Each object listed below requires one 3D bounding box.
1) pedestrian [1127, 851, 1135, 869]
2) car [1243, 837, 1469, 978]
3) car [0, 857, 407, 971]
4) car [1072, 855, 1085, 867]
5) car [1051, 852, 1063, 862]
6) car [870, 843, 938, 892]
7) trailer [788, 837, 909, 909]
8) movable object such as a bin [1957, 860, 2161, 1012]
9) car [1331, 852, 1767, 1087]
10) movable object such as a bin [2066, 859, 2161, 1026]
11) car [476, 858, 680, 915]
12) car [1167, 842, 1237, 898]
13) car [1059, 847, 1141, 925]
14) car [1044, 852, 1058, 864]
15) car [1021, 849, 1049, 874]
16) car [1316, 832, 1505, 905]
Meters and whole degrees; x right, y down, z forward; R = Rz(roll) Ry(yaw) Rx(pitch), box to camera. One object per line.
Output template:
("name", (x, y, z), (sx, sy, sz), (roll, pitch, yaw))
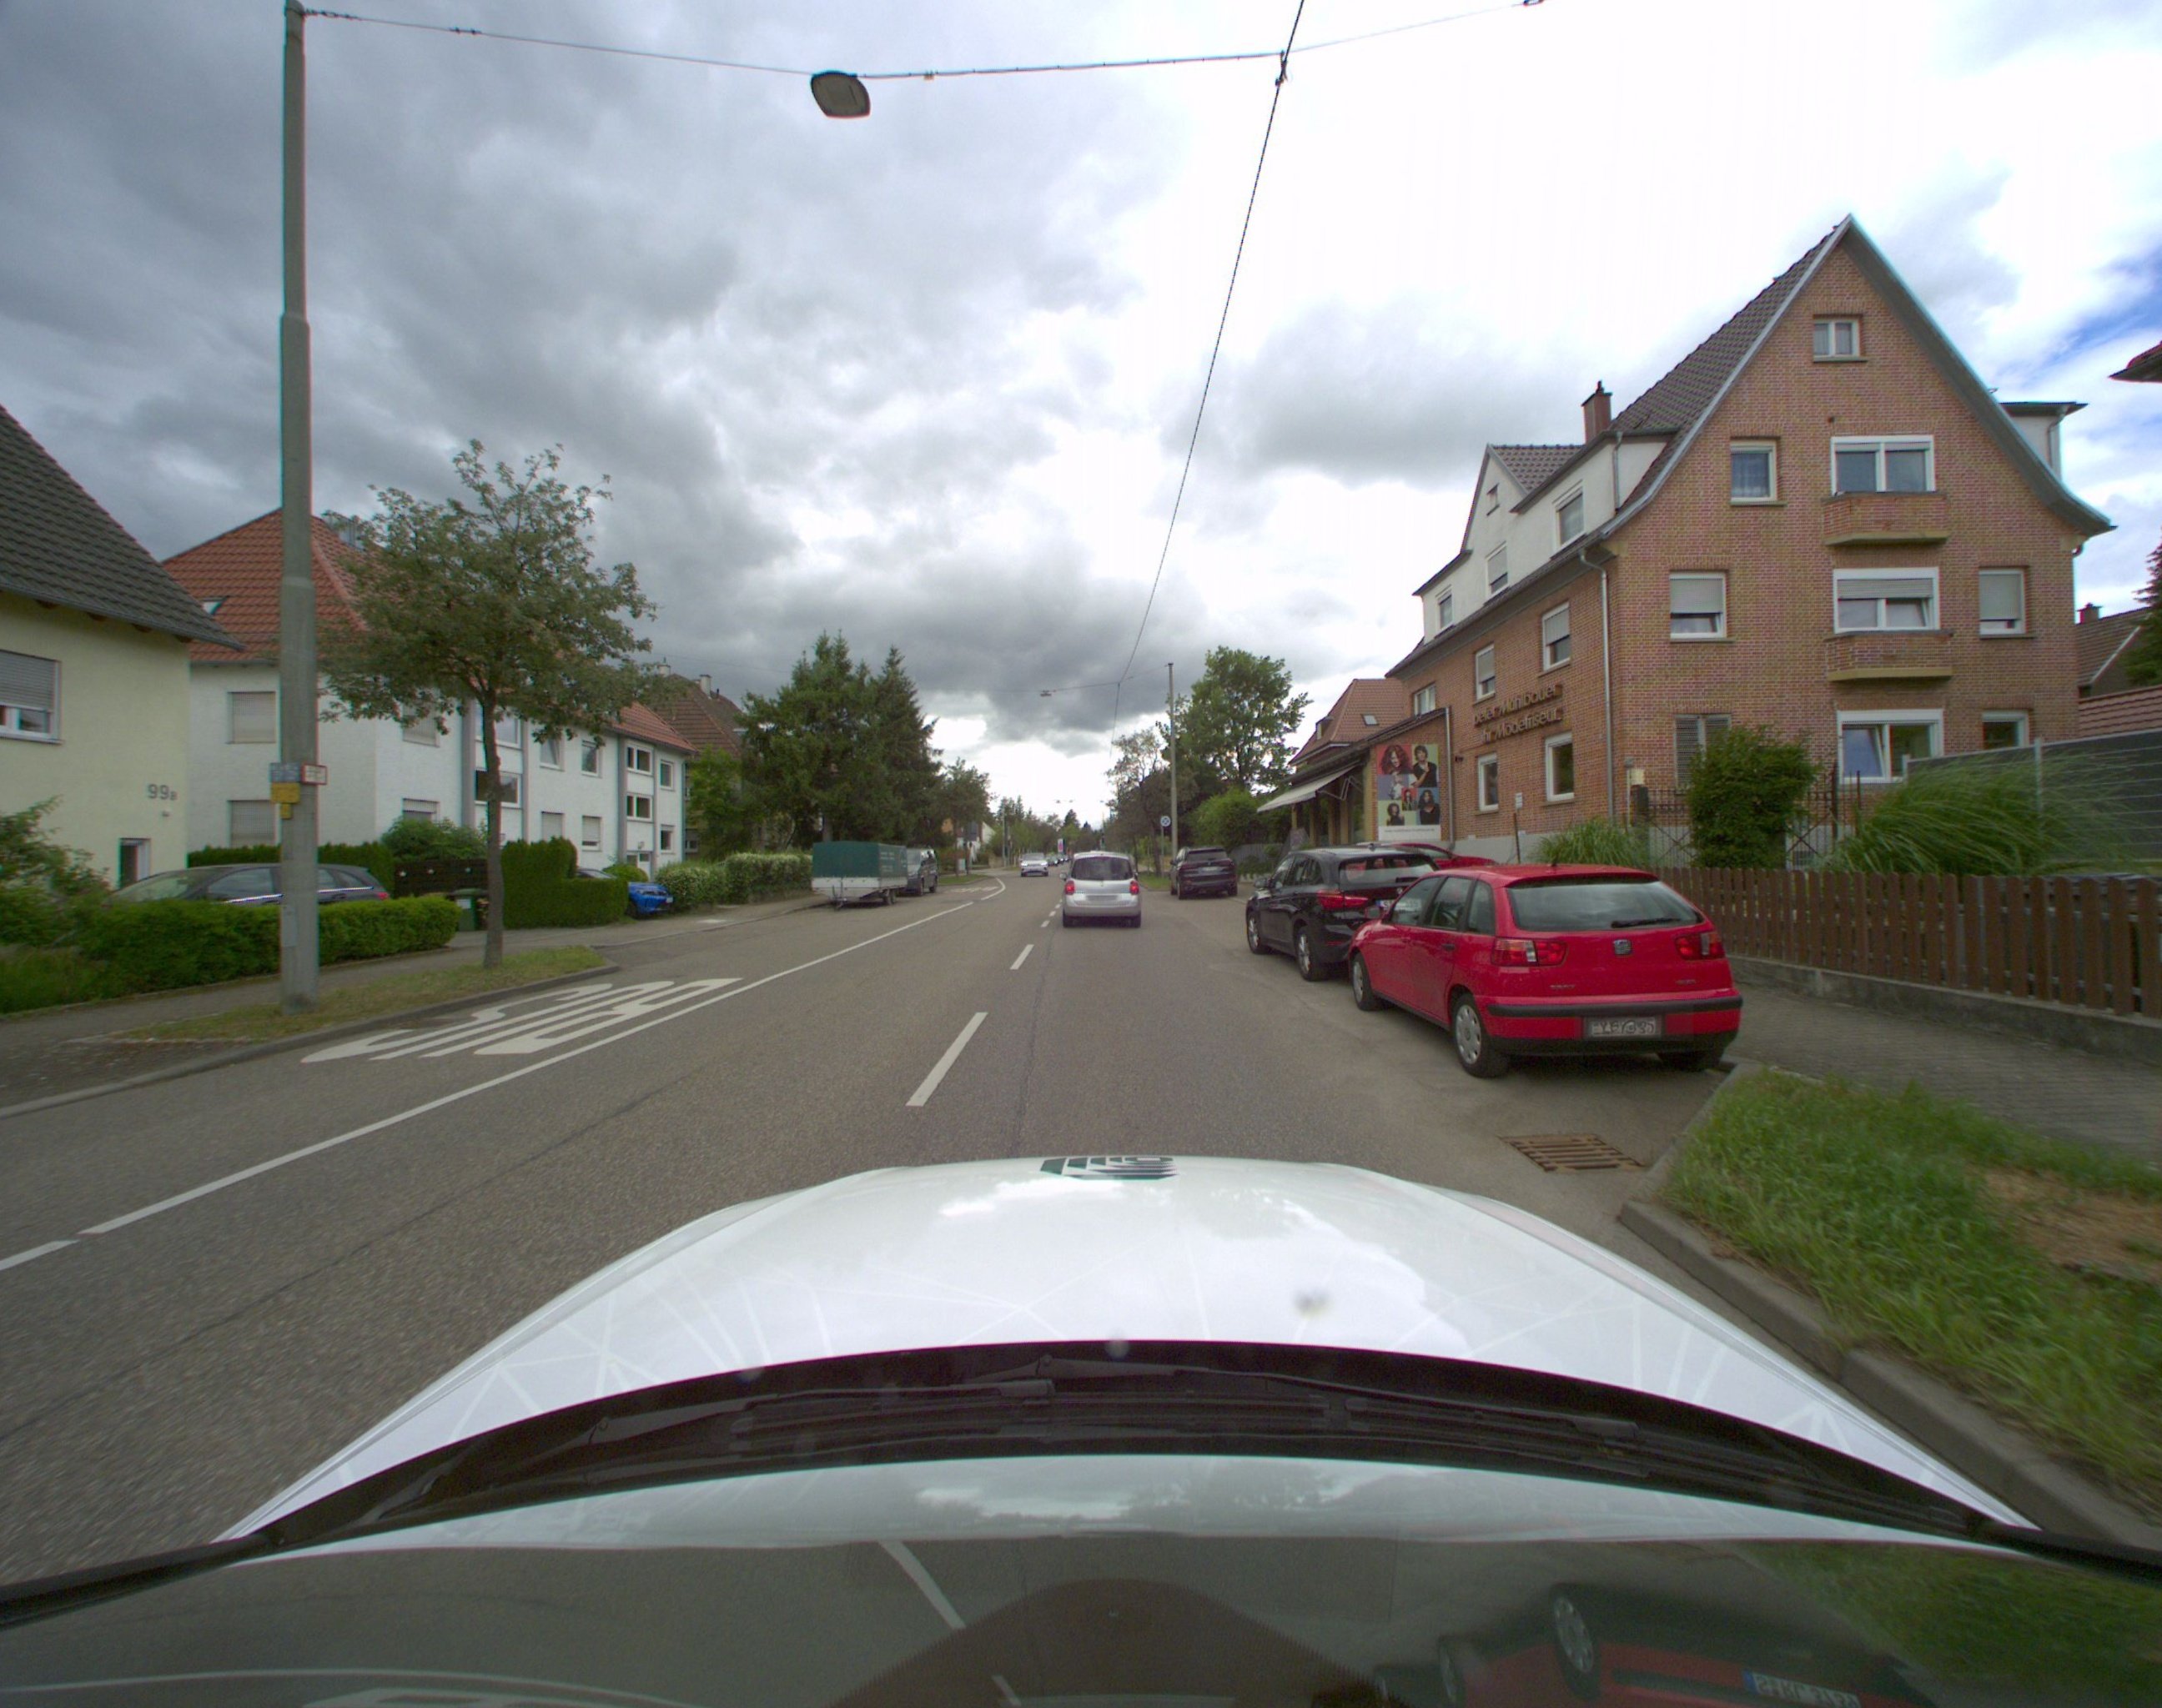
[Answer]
("pedestrian", (4.632, 0.551, 75.883), (0.703, 1.647, 0.773), (-1, 0, 0))
("car", (3.503, 0.600, 11.213), (1.658, 1.564, 4.096), (-1, 0, -1))
("car", (-12.788, 0.789, 12.194), (1.869, 1.417, 4.004), (-1, -1, 4))
("car", (-0.386, 1.055, 119.205), (1.823, 1.675, 3.575), (-1, 0, 1))
("car", (-3.713, 0.460, 124.846), (1.717, 1.411, 3.996), (1, -1, -2))
("car", (-7.370, 0.573, 34.366), (1.882, 1.922, 4.560), (1, -1, 0))
("trailer", (-7.465, 0.609, 26.951), (2.305, 2.087, 5.871), (1, -1, 0))
("movable object such as a bin", (7.613, 0.609, 6.371), (0.773, 1.104, 0.691), (-1, 0, 0))
("car", (3.412, 0.707, 6.811), (1.656, 1.393, 3.670), (-2, 0, 3))
("movable object such as a bin", (7.623, 0.596, 5.632), (0.773, 1.104, 0.691), (-1, 0, 0))
("car", (-12.408, 0.815, 20.313), (3.986, 1.338, 1.573), (1, -2, -9))
("car", (4.095, 0.559, 28.169), (1.806, 1.743, 4.000), (-2, -1, 0))
("car", (0.456, 0.676, 18.351), (1.624, 1.557, 4.001), (1, -1, 2))
("car", (-3.936, 0.536, 106.868), (1.717, 1.411, 3.996), (1, -1, -2))
("car", (-3.191, 0.536, 56.634), (1.901, 1.618, 3.996), (0, -1, -3))
("car", (8.237, 0.353, 20.545), (3.984, 1.496, 1.805), (-4, 0, -8))
